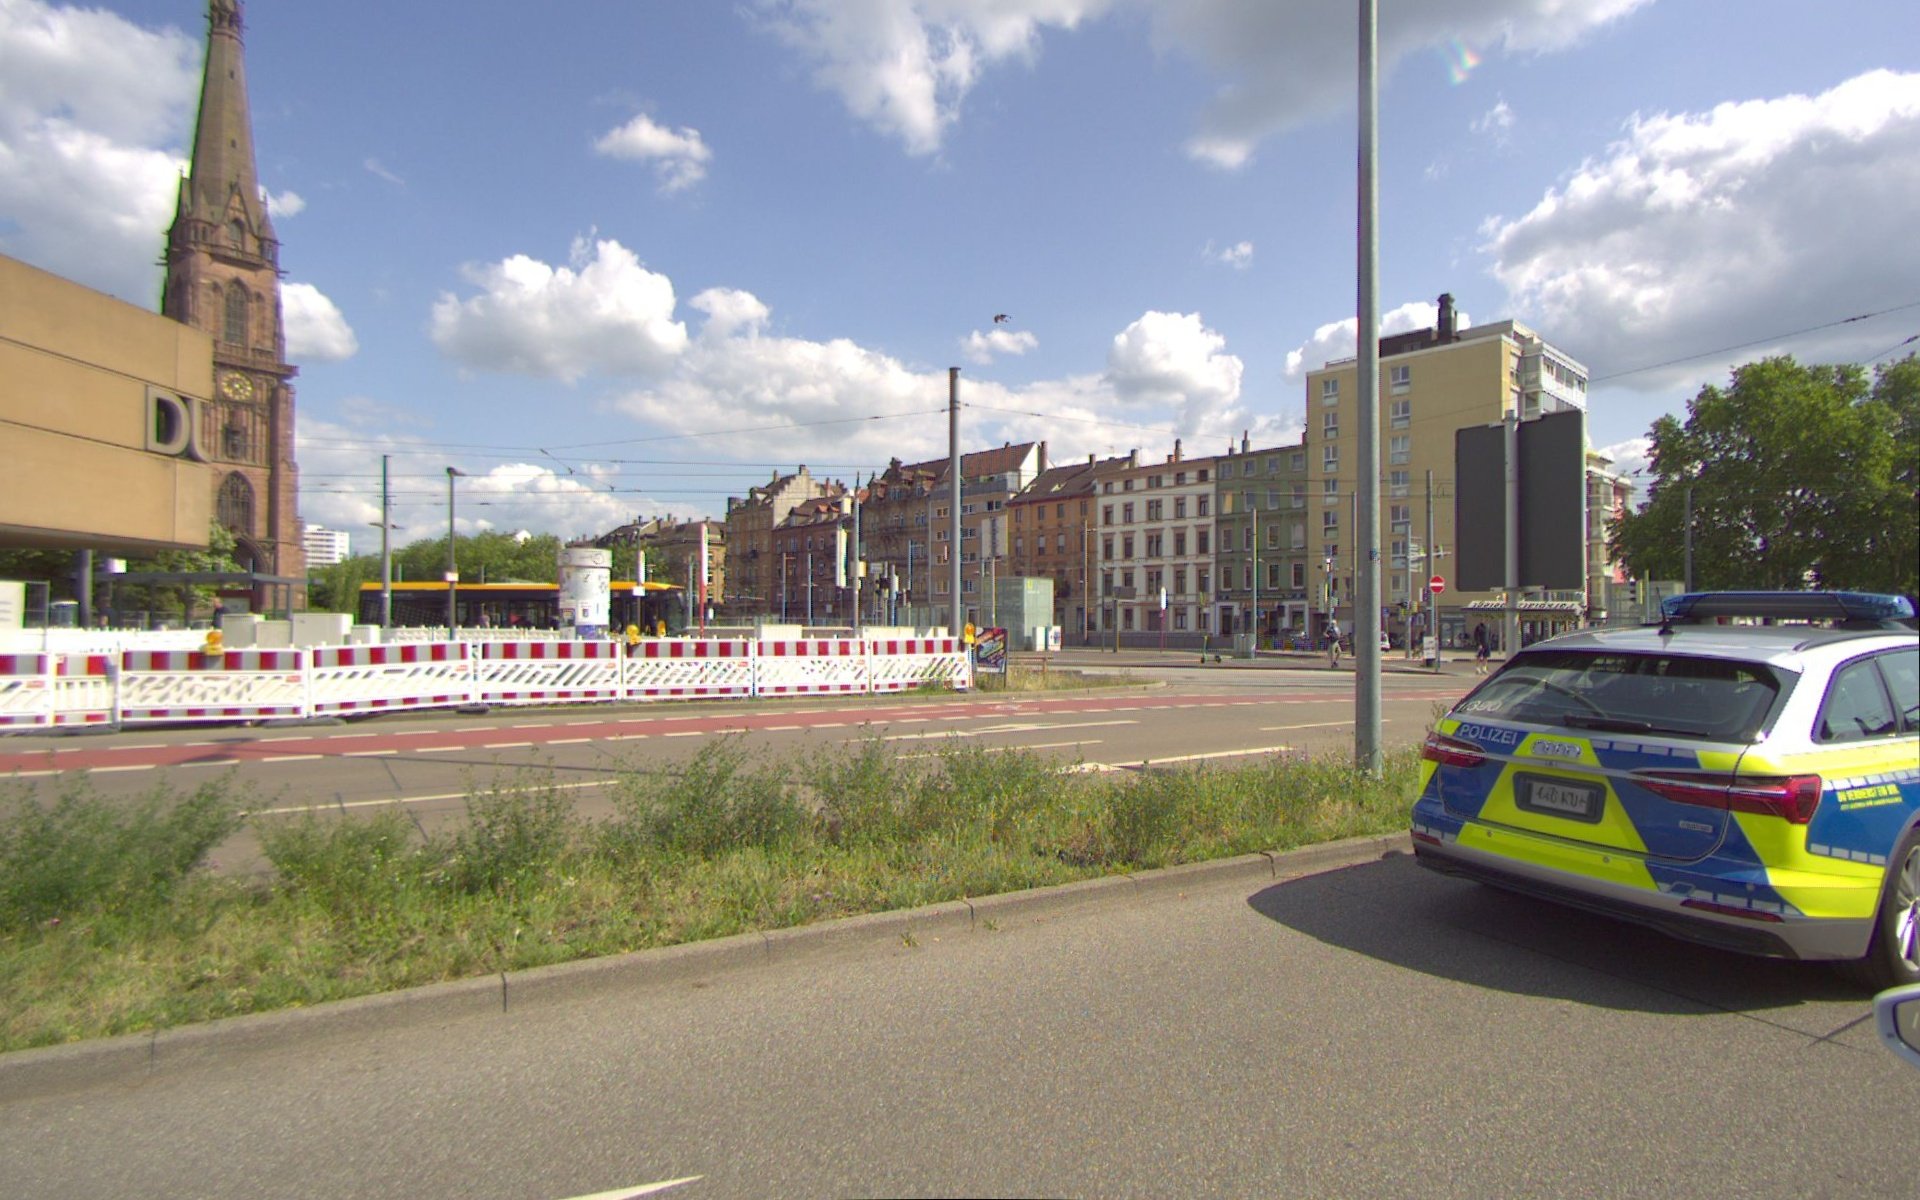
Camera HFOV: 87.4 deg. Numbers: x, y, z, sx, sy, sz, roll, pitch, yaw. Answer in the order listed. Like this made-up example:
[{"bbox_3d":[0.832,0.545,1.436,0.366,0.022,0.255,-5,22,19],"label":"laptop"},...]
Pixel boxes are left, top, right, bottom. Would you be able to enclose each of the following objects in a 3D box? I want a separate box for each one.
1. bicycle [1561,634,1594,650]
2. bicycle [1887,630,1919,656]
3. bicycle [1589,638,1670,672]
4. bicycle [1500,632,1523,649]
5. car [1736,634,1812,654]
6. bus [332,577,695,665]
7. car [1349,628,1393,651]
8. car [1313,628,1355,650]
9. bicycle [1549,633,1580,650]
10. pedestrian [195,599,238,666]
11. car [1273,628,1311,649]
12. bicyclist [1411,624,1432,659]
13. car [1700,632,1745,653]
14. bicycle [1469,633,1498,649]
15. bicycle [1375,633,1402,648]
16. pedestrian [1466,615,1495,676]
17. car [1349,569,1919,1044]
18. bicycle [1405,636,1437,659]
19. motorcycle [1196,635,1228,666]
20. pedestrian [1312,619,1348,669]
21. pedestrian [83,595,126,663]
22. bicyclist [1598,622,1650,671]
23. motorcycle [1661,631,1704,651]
[{"bbox_3d":[44.790,3.032,72.832,1.922,1.162,0.792,-1,-1,43],"label":"bicycle"},{"bbox_3d":[54.449,2.448,57.378,0.807,1.433,2.146,0,0,-44],"label":"bicycle"},{"bbox_3d":[24.594,2.014,36.918,0.984,1.204,2.281,2,-3,-32],"label":"bicycle"},{"bbox_3d":[40.712,2.981,74.108,1.791,1.275,0.789,1,-1,-34],"label":"bicycle"},{"bbox_3d":[59.030,3.181,72.900,1.615,1.344,3.967,3,-3,-31],"label":"car"},{"bbox_3d":[-16.804,0.806,38.381,12.586,3.177,2.835,0,-1,1],"label":"bus"},{"bbox_3d":[29.683,2.867,72.589,1.861,1.516,3.903,1,-2,5],"label":"car"},{"bbox_3d":[27.329,2.852,73.560,1.861,1.516,3.902,1,-2,4],"label":"car"},{"bbox_3d":[43.552,2.978,72.412,1.784,1.162,0.792,0,-1,43],"label":"bicycle"},{"bbox_3d":[-18.641,0.824,25.202,0.549,1.651,0.732,1,-1,-7],"label":"pedestrian"},{"bbox_3d":[25.145,2.916,76.218,1.861,1.516,3.902,1,-2,4],"label":"car"},{"bbox_3d":[24.476,2.174,53.259,0.768,1.821,0.706,2,0,43],"label":"bicyclist"},{"bbox_3d":[55.422,3.115,73.019,3.970,1.432,1.888,4,-4,-42],"label":"car"},{"bbox_3d":[38.610,3.015,74.048,1.783,1.118,0.792,0,-1,42],"label":"bicycle"},{"bbox_3d":[33.776,3.202,79.239,1.783,1.118,0.792,0,-1,42],"label":"bicycle"},{"bbox_3d":[16.913,1.452,32.640,0.753,1.928,0.825,2,0,29],"label":"pedestrian"},{"bbox_3d":[4.369,0.753,5.342,4.560,1.589,1.871,1,-2,-30],"label":"car"},{"bbox_3d":[24.444,2.483,53.219,0.877,1.153,2.345,2,0,41],"label":"bicycle"},{"bbox_3d":[10.620,2.121,42.337,0.478,1.253,1.437,2,-2,-27],"label":"motorcycle"},{"bbox_3d":[14.013,1.668,38.040,1.015,1.821,0.762,2,0,-26],"label":"pedestrian"},{"bbox_3d":[-21.176,0.710,24.867,0.760,1.653,0.645,2,-1,-41],"label":"pedestrian"},{"bbox_3d":[24.496,1.721,37.080,0.984,1.753,1.290,2,-2,-32],"label":"bicyclist"},{"bbox_3d":[46.850,2.666,65.162,0.890,1.254,2.214,0,-1,-12],"label":"motorcycle"}]
